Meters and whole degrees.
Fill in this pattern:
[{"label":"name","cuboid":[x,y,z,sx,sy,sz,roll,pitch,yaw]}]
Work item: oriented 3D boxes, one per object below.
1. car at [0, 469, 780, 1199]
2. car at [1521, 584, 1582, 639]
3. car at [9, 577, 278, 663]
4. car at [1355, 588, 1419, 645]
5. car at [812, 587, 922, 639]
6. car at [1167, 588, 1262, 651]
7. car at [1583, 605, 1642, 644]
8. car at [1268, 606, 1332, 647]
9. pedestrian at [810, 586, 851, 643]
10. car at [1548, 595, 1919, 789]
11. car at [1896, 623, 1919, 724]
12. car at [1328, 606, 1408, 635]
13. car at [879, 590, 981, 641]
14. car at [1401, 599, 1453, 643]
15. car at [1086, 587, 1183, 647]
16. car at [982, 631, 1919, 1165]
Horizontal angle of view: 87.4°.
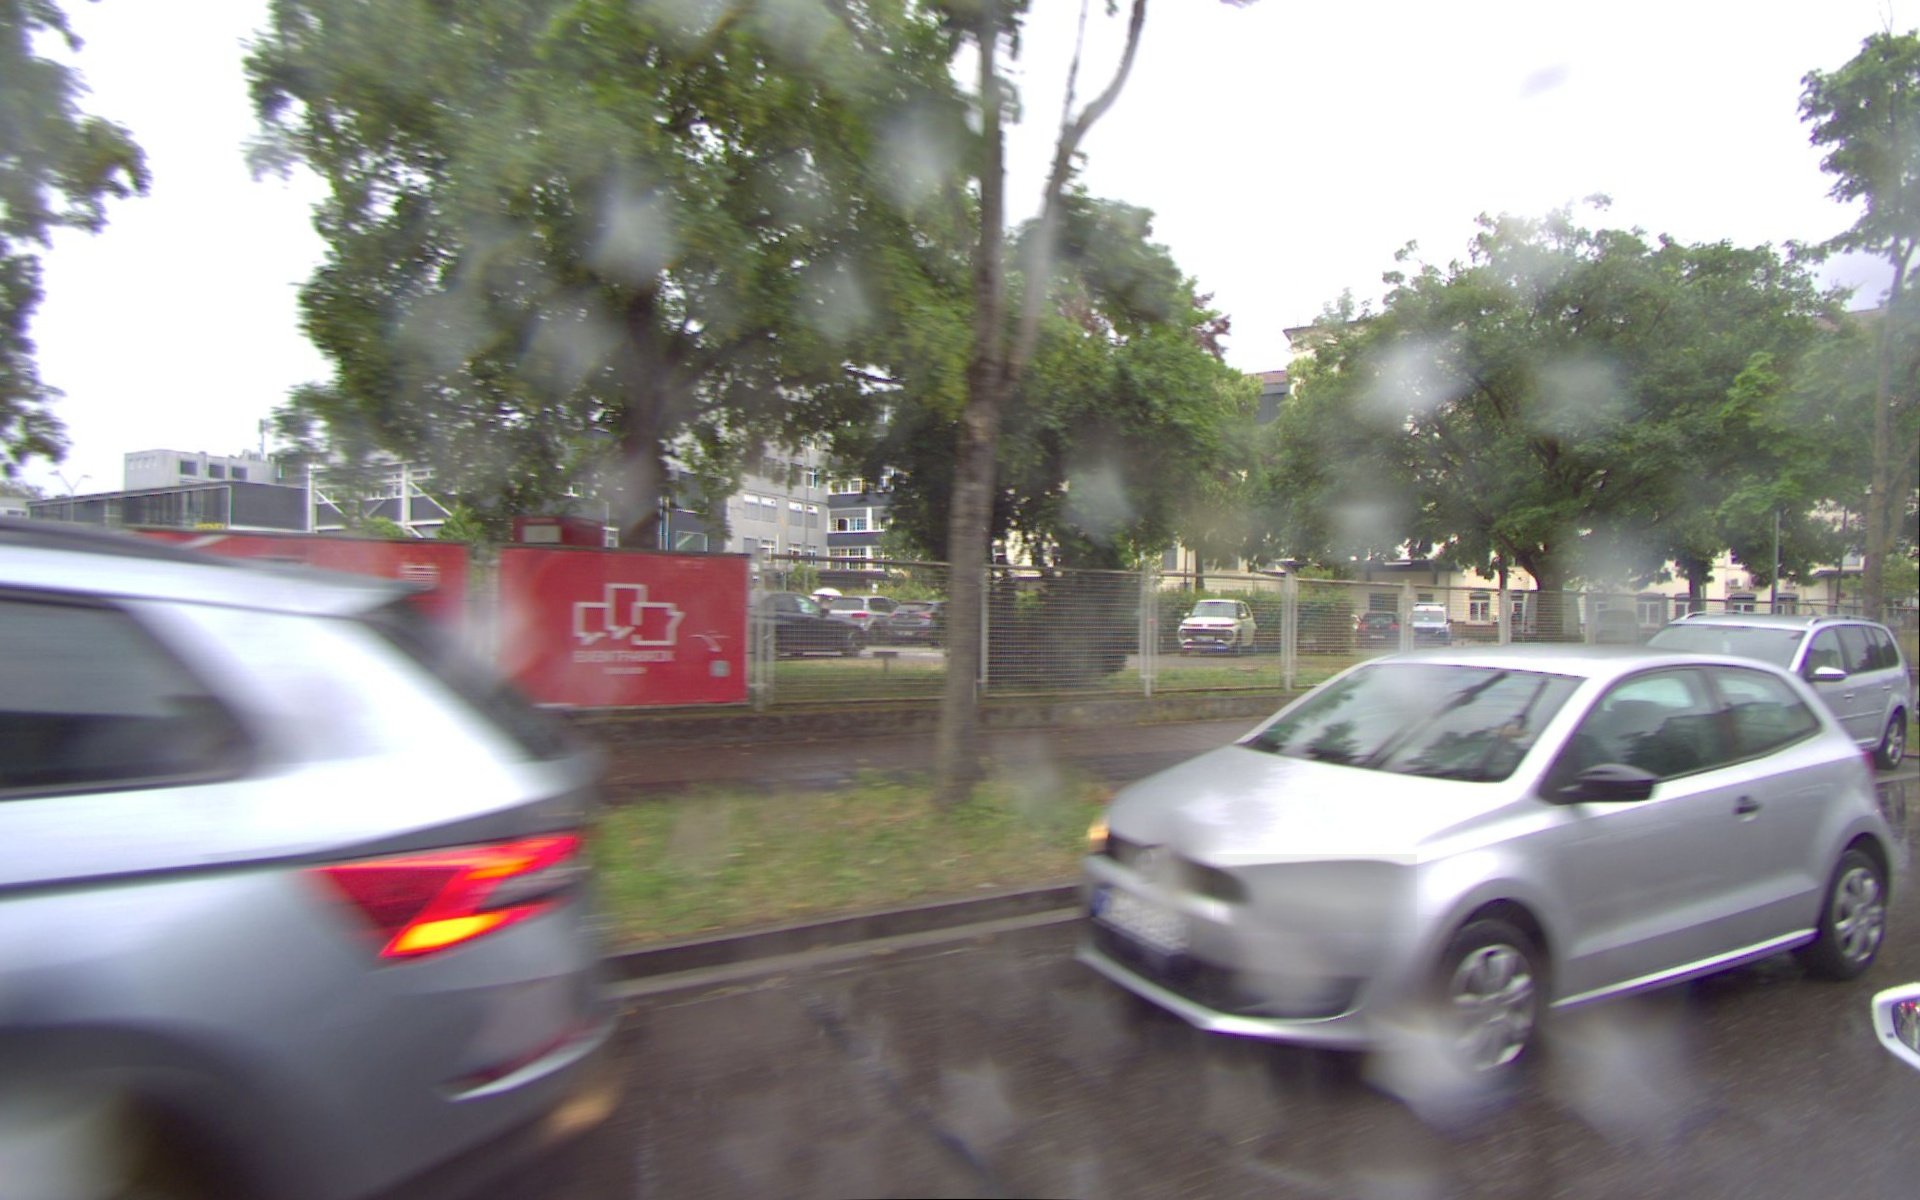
[{"label":"car","cuboid":[-2.876,0.611,1.515,4.762,1.661,1.906,2,0,-29]},{"label":"car","cuboid":[24.544,0.475,41.810,1.963,2.150,3.994,2,0,28]},{"label":"car","cuboid":[-16.789,0.404,20.842,1.772,1.604,3.989,1,-1,33]},{"label":"car","cuboid":[16.614,0.618,38.987,1.963,2.040,3.995,2,0,27]},{"label":"car","cuboid":[-2.992,0.433,33.123,1.895,1.622,3.860,1,-1,25]},{"label":"car","cuboid":[7.142,0.555,27.925,1.816,1.593,3.997,2,-1,25]},{"label":"car","cuboid":[26.383,0.969,40.711,1.679,1.453,3.644,2,0,29]},{"label":"car","cuboid":[13.969,1.043,41.134,1.963,1.529,3.544,2,1,27]},{"label":"pedestrian","cuboid":[-3.894,0.440,30.227,0.988,1.690,0.720,1,0,-30]},{"label":"car","cuboid":[8.647,0.862,10.975,4.545,1.702,1.767,1,2,-30]},{"label":"car","cuboid":[16.306,1.155,15.314,4.120,1.480,1.654,2,0,-27]},{"label":"car","cuboid":[22.812,1.125,56.290,3.919,1.567,2.001,0,0,15]},{"label":"car","cuboid":[-0.894,0.492,32.179,1.829,1.516,3.915,1,-1,22]},{"label":"car","cuboid":[20.771,0.905,44.592,1.899,1.809,3.995,2,0,27]},{"label":"car","cuboid":[5.069,0.510,28.808,1.961,1.578,4.000,1,-1,21]},{"label":"car","cuboid":[2.338,0.873,4.411,4.196,1.401,1.667,1,-1,-27]}]
